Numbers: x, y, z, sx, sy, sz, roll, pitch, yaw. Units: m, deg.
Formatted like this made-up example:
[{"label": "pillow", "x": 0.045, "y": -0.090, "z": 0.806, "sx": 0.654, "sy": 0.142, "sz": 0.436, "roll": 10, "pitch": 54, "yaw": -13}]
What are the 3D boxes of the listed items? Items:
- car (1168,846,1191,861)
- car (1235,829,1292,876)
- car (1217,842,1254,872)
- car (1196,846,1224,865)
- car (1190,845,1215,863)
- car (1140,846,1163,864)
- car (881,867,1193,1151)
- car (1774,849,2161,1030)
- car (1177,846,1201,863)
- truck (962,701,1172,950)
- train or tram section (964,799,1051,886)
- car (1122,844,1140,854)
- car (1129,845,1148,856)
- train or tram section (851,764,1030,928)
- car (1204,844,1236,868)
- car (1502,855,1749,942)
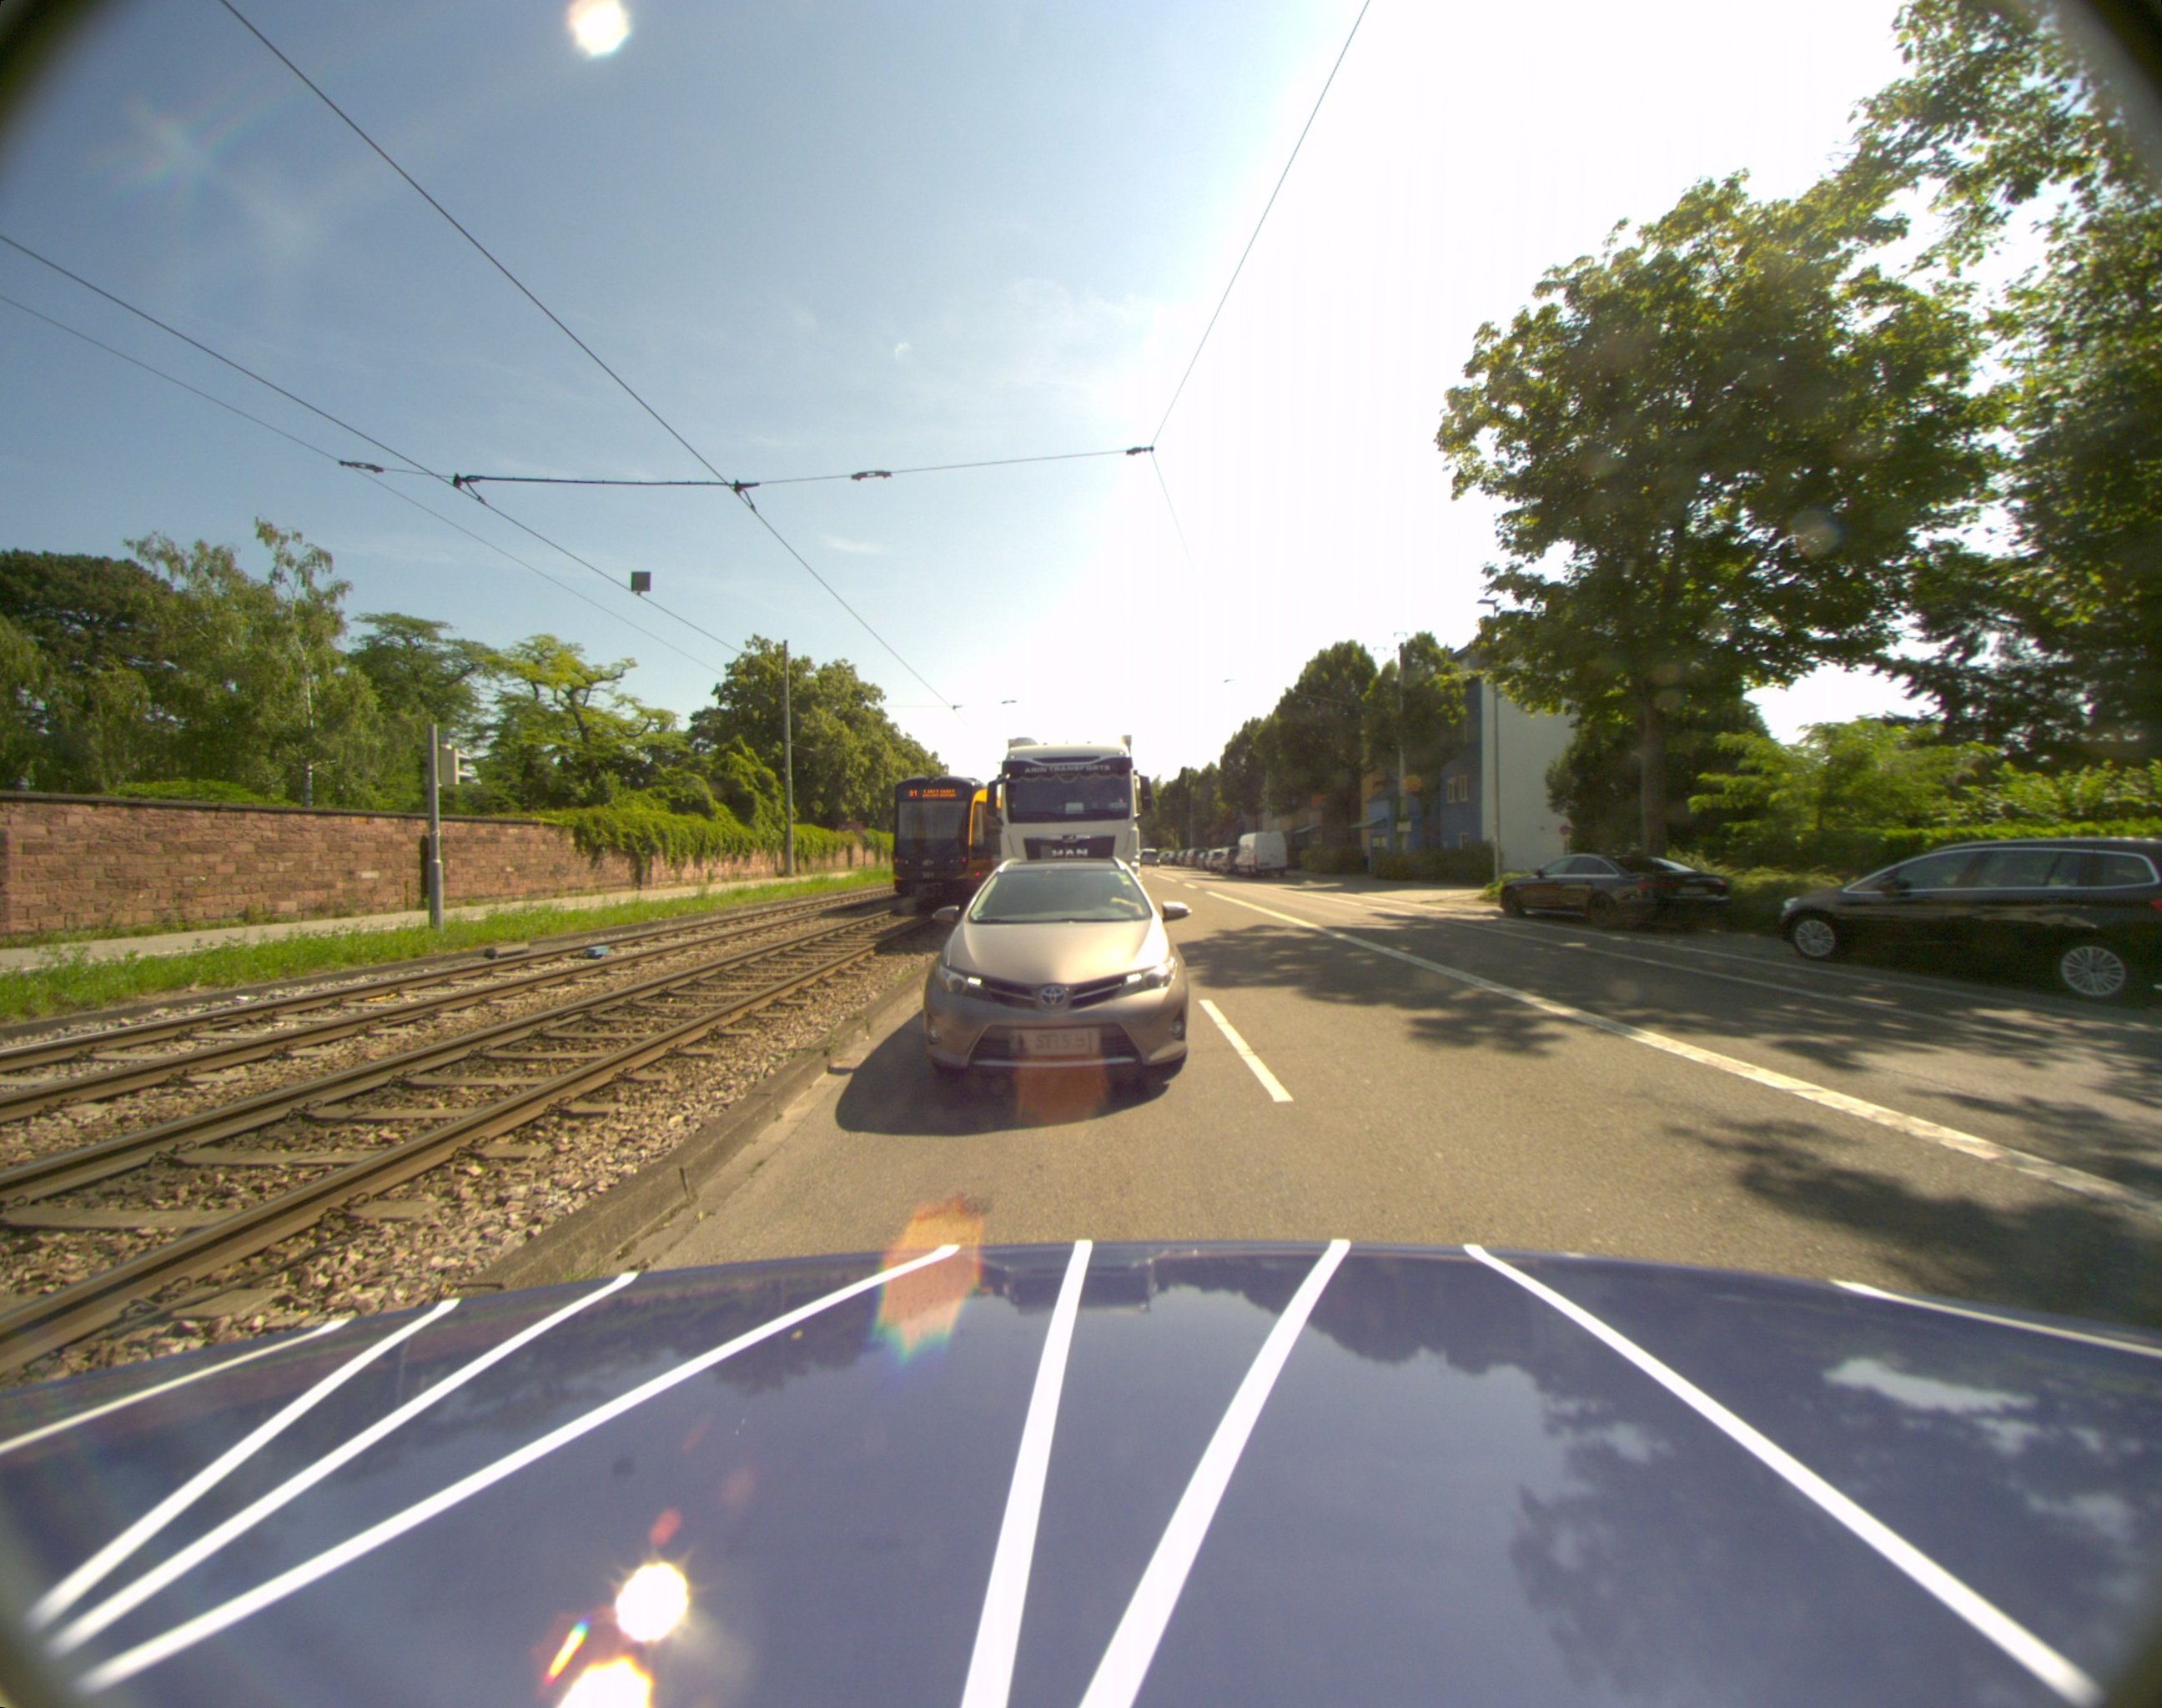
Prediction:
[{"label": "car", "x": 10.567, "y": -0.081, "z": 81.822, "sx": 1.679, "sy": 1.493, "sz": 3.765, "roll": -4, "pitch": 1, "yaw": -3}, {"label": "car", "x": 10.962, "y": -0.114, "z": 46.227, "sx": 2.016, "sy": 2.636, "sz": 6.085, "roll": -2, "pitch": 1, "yaw": 1}, {"label": "car", "x": 11.027, "y": 0.162, "z": 54.372, "sx": 1.679, "sy": 1.925, "sz": 4.457, "roll": -4, "pitch": 1, "yaw": 1}, {"label": "car", "x": 11.109, "y": 0.093, "z": 65.628, "sx": 1.679, "sy": 1.493, "sz": 3.766, "roll": -4, "pitch": 1, "yaw": 1}, {"label": "car", "x": 11.174, "y": -0.006, "z": 70.326, "sx": 1.679, "sy": 1.493, "sz": 3.766, "roll": -4, "pitch": 1, "yaw": 1}, {"label": "car", "x": 6.328, "y": 0.076, "z": 68.307, "sx": 1.847, "sy": 1.587, "sz": 4.000, "roll": 0, "pitch": 1, "yaw": 2}, {"label": "car", "x": -0.224, "y": 0.919, "z": 6.322, "sx": 1.719, "sy": 1.439, "sz": 4.030, "roll": -2, "pitch": 1, "yaw": 1}, {"label": "car", "x": 10.564, "y": 0.764, "z": 8.508, "sx": 1.679, "sy": 1.603, "sz": 4.241, "roll": 0, "pitch": 1, "yaw": -1}, {"label": "car", "x": 10.805, "y": 0.022, "z": 76.230, "sx": 1.679, "sy": 1.493, "sz": 3.765, "roll": -4, "pitch": 1, "yaw": -3}, {"label": "truck", "x": -0.142, "y": -0.570, "z": 19.840, "sx": 3.391, "sy": 4.046, "sz": 14.284, "roll": -2, "pitch": 1, "yaw": 1}, {"label": "train or tram section", "x": -3.539, "y": -0.692, "z": 42.068, "sx": 2.679, "sy": 3.631, "sz": 18.953, "roll": -2, "pitch": 1, "yaw": 0}, {"label": "car", "x": 7.398, "y": -0.754, "z": 112.587, "sx": 1.680, "sy": 1.493, "sz": 3.762, "roll": -2, "pitch": 1, "yaw": -10}, {"label": "car", "x": 8.159, "y": -0.459, "z": 107.831, "sx": 1.680, "sy": 1.493, "sz": 3.763, "roll": -4, "pitch": 1, "yaw": -10}, {"label": "train or tram section", "x": -3.710, "y": -0.331, "z": 24.995, "sx": 2.676, "sy": 3.631, "sz": 15.302, "roll": -2, "pitch": 1, "yaw": 1}, {"label": "car", "x": 10.964, "y": 0.129, "z": 60.206, "sx": 1.679, "sy": 1.659, "sz": 4.147, "roll": -4, "pitch": 1, "yaw": 1}, {"label": "car", "x": 10.573, "y": 0.763, "z": 15.254, "sx": 1.679, "sy": 1.427, "sz": 4.456, "roll": 0, "pitch": 1, "yaw": -1}]
